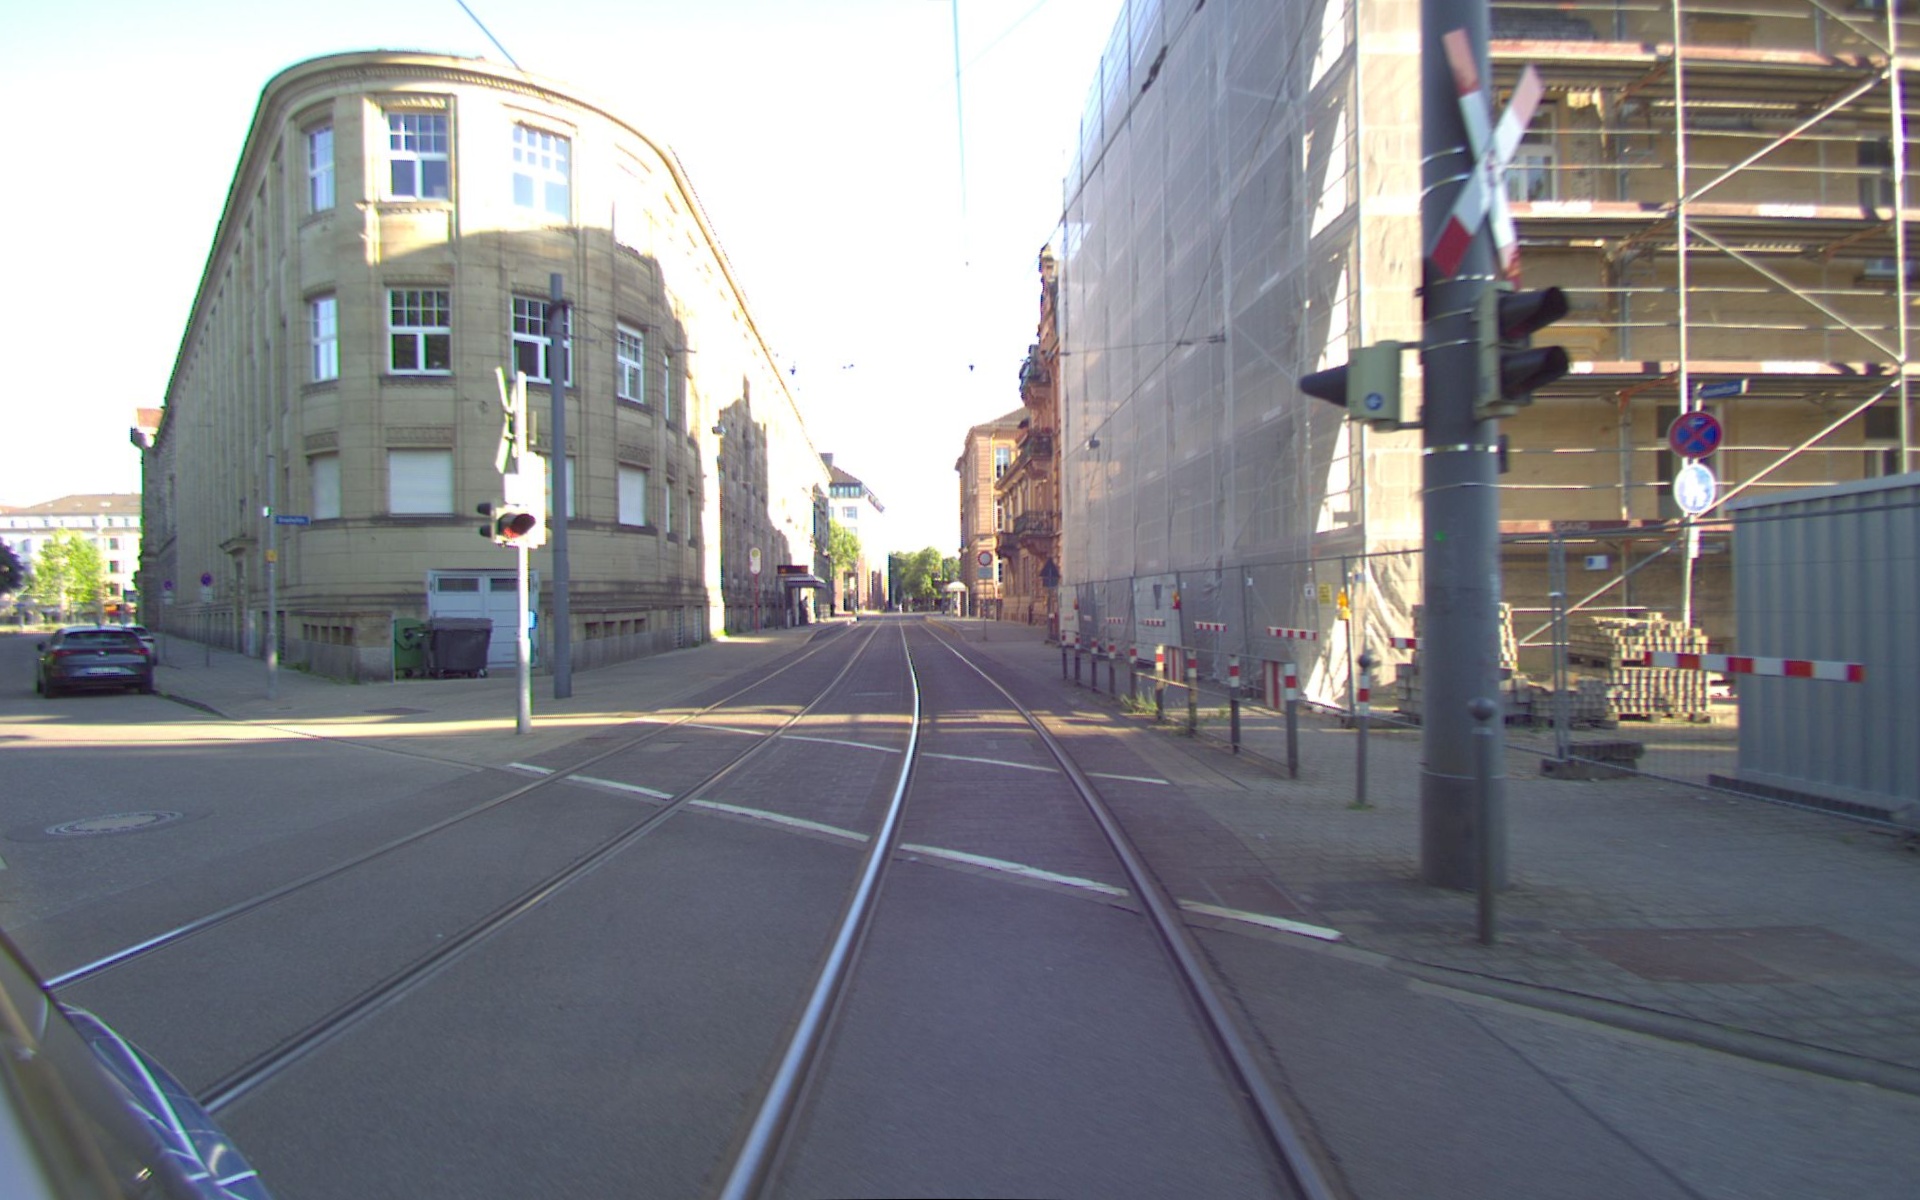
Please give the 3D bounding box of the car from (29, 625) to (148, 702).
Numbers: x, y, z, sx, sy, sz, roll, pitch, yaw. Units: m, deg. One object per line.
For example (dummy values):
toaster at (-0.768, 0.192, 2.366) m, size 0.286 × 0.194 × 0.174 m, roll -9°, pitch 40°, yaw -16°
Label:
car at (-18.727, 1.281, 21.677) m, size 1.723 × 1.459 × 4.212 m, roll 0°, pitch -1°, yaw -44°

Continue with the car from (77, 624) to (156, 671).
car at (-29.596, 1.611, 35.455) m, size 1.724 × 1.445 × 4.563 m, roll -2°, pitch 0°, yaw -45°

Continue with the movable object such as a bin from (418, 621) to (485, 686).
movable object such as a bin at (-12.088, 1.236, 24.013) m, size 1.167 × 1.439 × 1.926 m, roll 0°, pitch -1°, yaw -34°

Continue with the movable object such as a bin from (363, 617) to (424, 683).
movable object such as a bin at (-13.590, 1.175, 24.256) m, size 1.130 × 1.497 × 1.632 m, roll 0°, pitch -1°, yaw -34°

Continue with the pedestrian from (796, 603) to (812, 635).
pedestrian at (-9.374, 1.140, 60.843) m, size 0.743 × 1.850 × 0.820 m, roll -1°, pitch -1°, yaw 5°
